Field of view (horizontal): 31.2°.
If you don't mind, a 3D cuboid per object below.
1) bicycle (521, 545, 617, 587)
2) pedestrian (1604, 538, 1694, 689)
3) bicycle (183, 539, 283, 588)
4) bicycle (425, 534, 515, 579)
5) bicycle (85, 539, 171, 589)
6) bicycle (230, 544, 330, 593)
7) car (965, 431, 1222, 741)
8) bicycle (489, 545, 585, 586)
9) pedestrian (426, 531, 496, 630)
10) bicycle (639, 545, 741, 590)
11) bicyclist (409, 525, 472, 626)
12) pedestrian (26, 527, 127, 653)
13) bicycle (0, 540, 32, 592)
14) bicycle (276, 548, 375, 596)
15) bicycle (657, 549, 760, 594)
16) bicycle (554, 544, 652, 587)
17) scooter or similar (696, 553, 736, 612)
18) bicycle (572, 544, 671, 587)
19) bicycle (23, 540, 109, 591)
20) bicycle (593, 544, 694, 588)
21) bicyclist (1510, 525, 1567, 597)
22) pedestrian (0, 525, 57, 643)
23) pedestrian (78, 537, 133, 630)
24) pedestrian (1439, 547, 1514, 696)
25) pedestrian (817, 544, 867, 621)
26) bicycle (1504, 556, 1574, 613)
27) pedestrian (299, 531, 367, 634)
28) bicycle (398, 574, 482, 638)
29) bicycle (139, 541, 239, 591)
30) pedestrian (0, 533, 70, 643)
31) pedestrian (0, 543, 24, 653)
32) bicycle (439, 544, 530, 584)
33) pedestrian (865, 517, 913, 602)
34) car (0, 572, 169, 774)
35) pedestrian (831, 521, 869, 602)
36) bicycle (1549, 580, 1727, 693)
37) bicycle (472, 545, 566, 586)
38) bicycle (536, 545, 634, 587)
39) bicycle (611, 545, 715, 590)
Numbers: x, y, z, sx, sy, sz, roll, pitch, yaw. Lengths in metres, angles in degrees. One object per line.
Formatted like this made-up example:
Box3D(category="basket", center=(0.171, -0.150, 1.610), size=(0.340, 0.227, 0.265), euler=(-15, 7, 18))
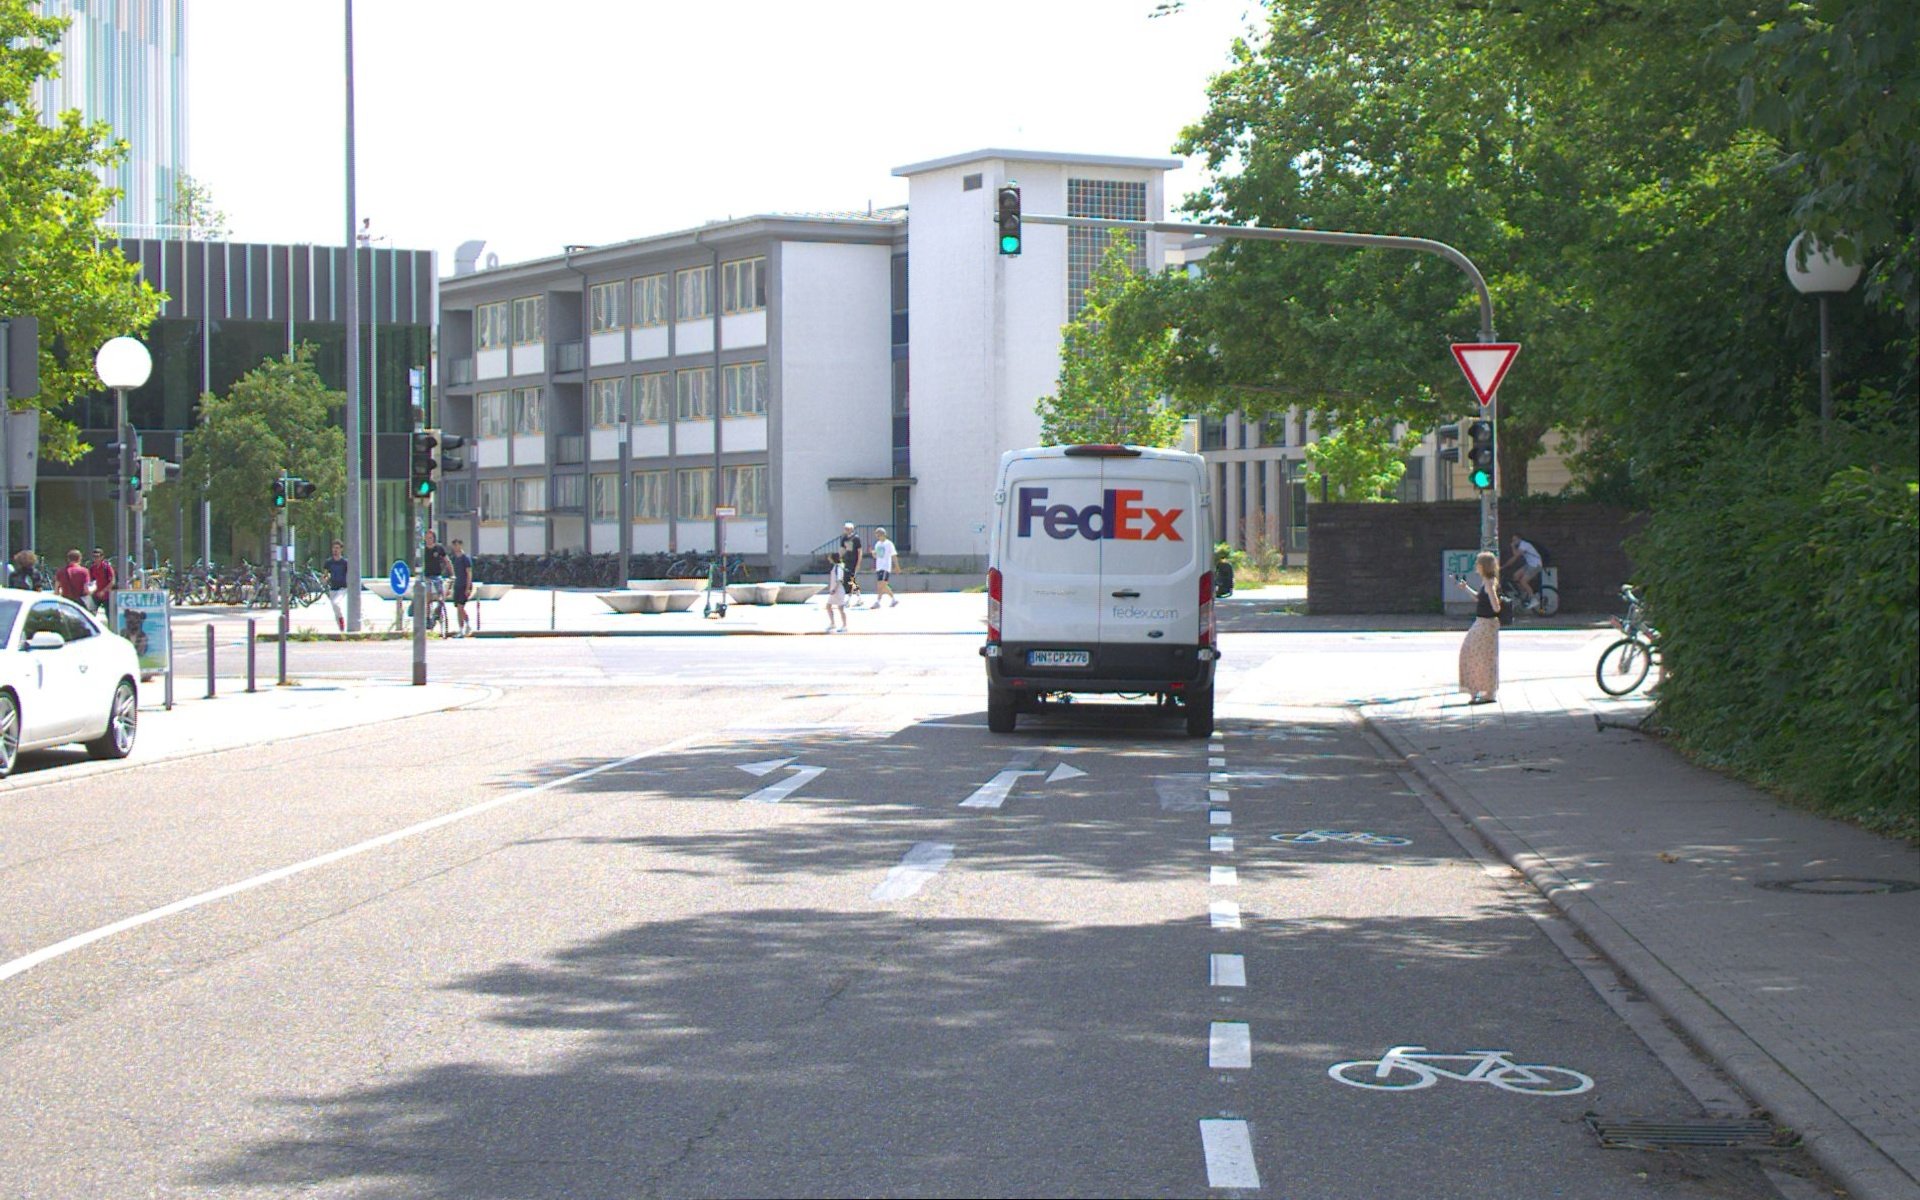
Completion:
Box3D(category="bicycle", center=(-12.837, -1.111, 112.870), size=(2.956, 1.359, 1.117), euler=(0, 1, -33))
Box3D(category="pedestrian", center=(7.373, 0.146, 36.802), size=(0.731, 1.570, 0.727), euler=(-3, 0, -2))
Box3D(category="bicycle", center=(-18.535, -0.933, 87.579), size=(1.197, 1.233, 2.950), euler=(0, 1, -41))
Box3D(category="bicycle", center=(-17.271, -1.534, 121.184), size=(2.956, 1.569, 1.117), euler=(0, 1, -33))
Box3D(category="bicycle", center=(-20.886, -0.908, 86.251), size=(1.197, 1.233, 2.951), euler=(0, 1, -33))
Box3D(category="bicycle", center=(-17.474, -0.814, 88.285), size=(1.197, 1.233, 2.950), euler=(0, 1, -41))
Box3D(category="car", center=(1.298, -0.179, 31.833), size=(2.095, 2.558, 5.602), euler=(2, 1, 3))
Box3D(category="bicycle", center=(-14.129, -1.147, 114.877), size=(2.956, 1.359, 1.117), euler=(0, 1, -33))
Box3D(category="pedestrian", center=(-9.520, -0.381, 65.574), size=(0.831, 1.864, 1.083), euler=(0, 1, 28))
Box3D(category="bicycle", center=(-8.310, -0.986, 105.908), size=(2.956, 1.359, 1.117), euler=(0, 1, -33))
Box3D(category="bicyclist", center=(-9.398, -0.450, 62.174), size=(0.790, 1.811, 0.999), euler=(0, 1, 14))
Box3D(category="pedestrian", center=(-12.862, -0.154, 50.075), size=(0.807, 1.801, 1.265), euler=(0, 1, 22))
Box3D(category="bicycle", center=(-23.786, -0.843, 84.234), size=(1.197, 1.233, 2.951), euler=(0, 1, -32))
Box3D(category="bicycle", center=(-16.440, -0.729, 89.020), size=(1.197, 1.233, 2.950), euler=(0, 1, -41))
Box3D(category="bicycle", center=(-7.650, -0.861, 104.753), size=(2.956, 1.359, 1.117), euler=(0, 1, -33))
Box3D(category="bicycle", center=(-11.490, -1.106, 110.677), size=(2.956, 1.359, 1.117), euler=(0, 1, -33))
Box3D(category="scooter or similar", center=(-5.146, -0.374, 72.341), size=(0.716, 1.174, 2.726), euler=(0, 2, -6))
Box3D(category="bicycle", center=(-10.777, -1.089, 109.559), size=(2.956, 1.359, 1.117), euler=(0, 1, -33))
Box3D(category="bicycle", center=(-22.088, -0.868, 84.892), size=(1.197, 1.233, 2.951), euler=(0, 1, -32))
Box3D(category="bicycle", center=(-9.965, -1.061, 108.327), size=(2.956, 1.359, 1.117), euler=(0, 1, -33))
Box3D(category="bicyclist", center=(11.839, -0.808, 70.394), size=(0.850, 1.463, 1.067), euler=(0, 1, 28))
Box3D(category="pedestrian", center=(-14.781, -0.258, 53.530), size=(0.862, 1.812, 1.094), euler=(0, 1, 28))
Box3D(category="pedestrian", center=(-15.550, -0.305, 62.560), size=(0.753, 1.672, 0.755), euler=(0, 1, 3))
Box3D(category="pedestrian", center=(5.547, 0.224, 36.906), size=(0.731, 1.570, 0.775), euler=(1, 1, 11))
Box3D(category="pedestrian", center=(-2.343, -0.344, 68.364), size=(0.824, 1.518, 0.815), euler=(0, 1, -15))
Box3D(category="bicycle", center=(11.874, -0.323, 70.458), size=(0.849, 1.141, 1.993), euler=(0, 1, 27))
Box3D(category="pedestrian", center=(-11.696, -0.334, 64.162), size=(0.703, 1.849, 1.398), euler=(0, 2, 14))
Box3D(category="bicycle", center=(-9.392, 0.103, 62.210), size=(0.771, 1.118, 2.025), euler=(0, 1, 14))
Box3D(category="bicycle", center=(-19.473, -0.868, 86.739), size=(1.197, 1.233, 2.950), euler=(0, 1, -41))
Box3D(category="pedestrian", center=(-14.149, -0.188, 52.226), size=(0.826, 1.649, 0.861), euler=(0, 2, 24))
Box3D(category="pedestrian", center=(-14.173, -0.029, 50.090), size=(0.770, 1.592, 0.798), euler=(0, 1, 6))
Box3D(category="bicycle", center=(-16.539, -1.239, 119.591), size=(2.956, 1.359, 1.117), euler=(0, 1, -33))
Box3D(category="pedestrian", center=(-1.588, -0.905, 76.772), size=(0.865, 1.883, 0.913), euler=(0, 1, -15))
Box3D(category="car", center=(-7.660, 0.520, 26.464), size=(1.677, 1.390, 4.661), euler=(2, 1, 5))
Box3D(category="pedestrian", center=(-2.482, -0.869, 77.411), size=(0.668, 1.809, 0.816), euler=(0, 1, -15))
Box3D(category="bicycle", center=(7.271, 0.394, 36.887), size=(1.736, 1.123, 0.594), euler=(-3, 0, -2))
Box3D(category="bicycle", center=(-14.920, -1.173, 116.429), size=(2.956, 1.359, 1.117), euler=(0, 1, -33))
Box3D(category="bicycle", center=(-12.183, -1.097, 111.790), size=(2.956, 1.359, 1.117), euler=(0, 1, -33))
Box3D(category="bicycle", center=(-9.265, -1.011, 107.253), size=(2.956, 1.359, 1.276), euler=(0, 1, -33))
